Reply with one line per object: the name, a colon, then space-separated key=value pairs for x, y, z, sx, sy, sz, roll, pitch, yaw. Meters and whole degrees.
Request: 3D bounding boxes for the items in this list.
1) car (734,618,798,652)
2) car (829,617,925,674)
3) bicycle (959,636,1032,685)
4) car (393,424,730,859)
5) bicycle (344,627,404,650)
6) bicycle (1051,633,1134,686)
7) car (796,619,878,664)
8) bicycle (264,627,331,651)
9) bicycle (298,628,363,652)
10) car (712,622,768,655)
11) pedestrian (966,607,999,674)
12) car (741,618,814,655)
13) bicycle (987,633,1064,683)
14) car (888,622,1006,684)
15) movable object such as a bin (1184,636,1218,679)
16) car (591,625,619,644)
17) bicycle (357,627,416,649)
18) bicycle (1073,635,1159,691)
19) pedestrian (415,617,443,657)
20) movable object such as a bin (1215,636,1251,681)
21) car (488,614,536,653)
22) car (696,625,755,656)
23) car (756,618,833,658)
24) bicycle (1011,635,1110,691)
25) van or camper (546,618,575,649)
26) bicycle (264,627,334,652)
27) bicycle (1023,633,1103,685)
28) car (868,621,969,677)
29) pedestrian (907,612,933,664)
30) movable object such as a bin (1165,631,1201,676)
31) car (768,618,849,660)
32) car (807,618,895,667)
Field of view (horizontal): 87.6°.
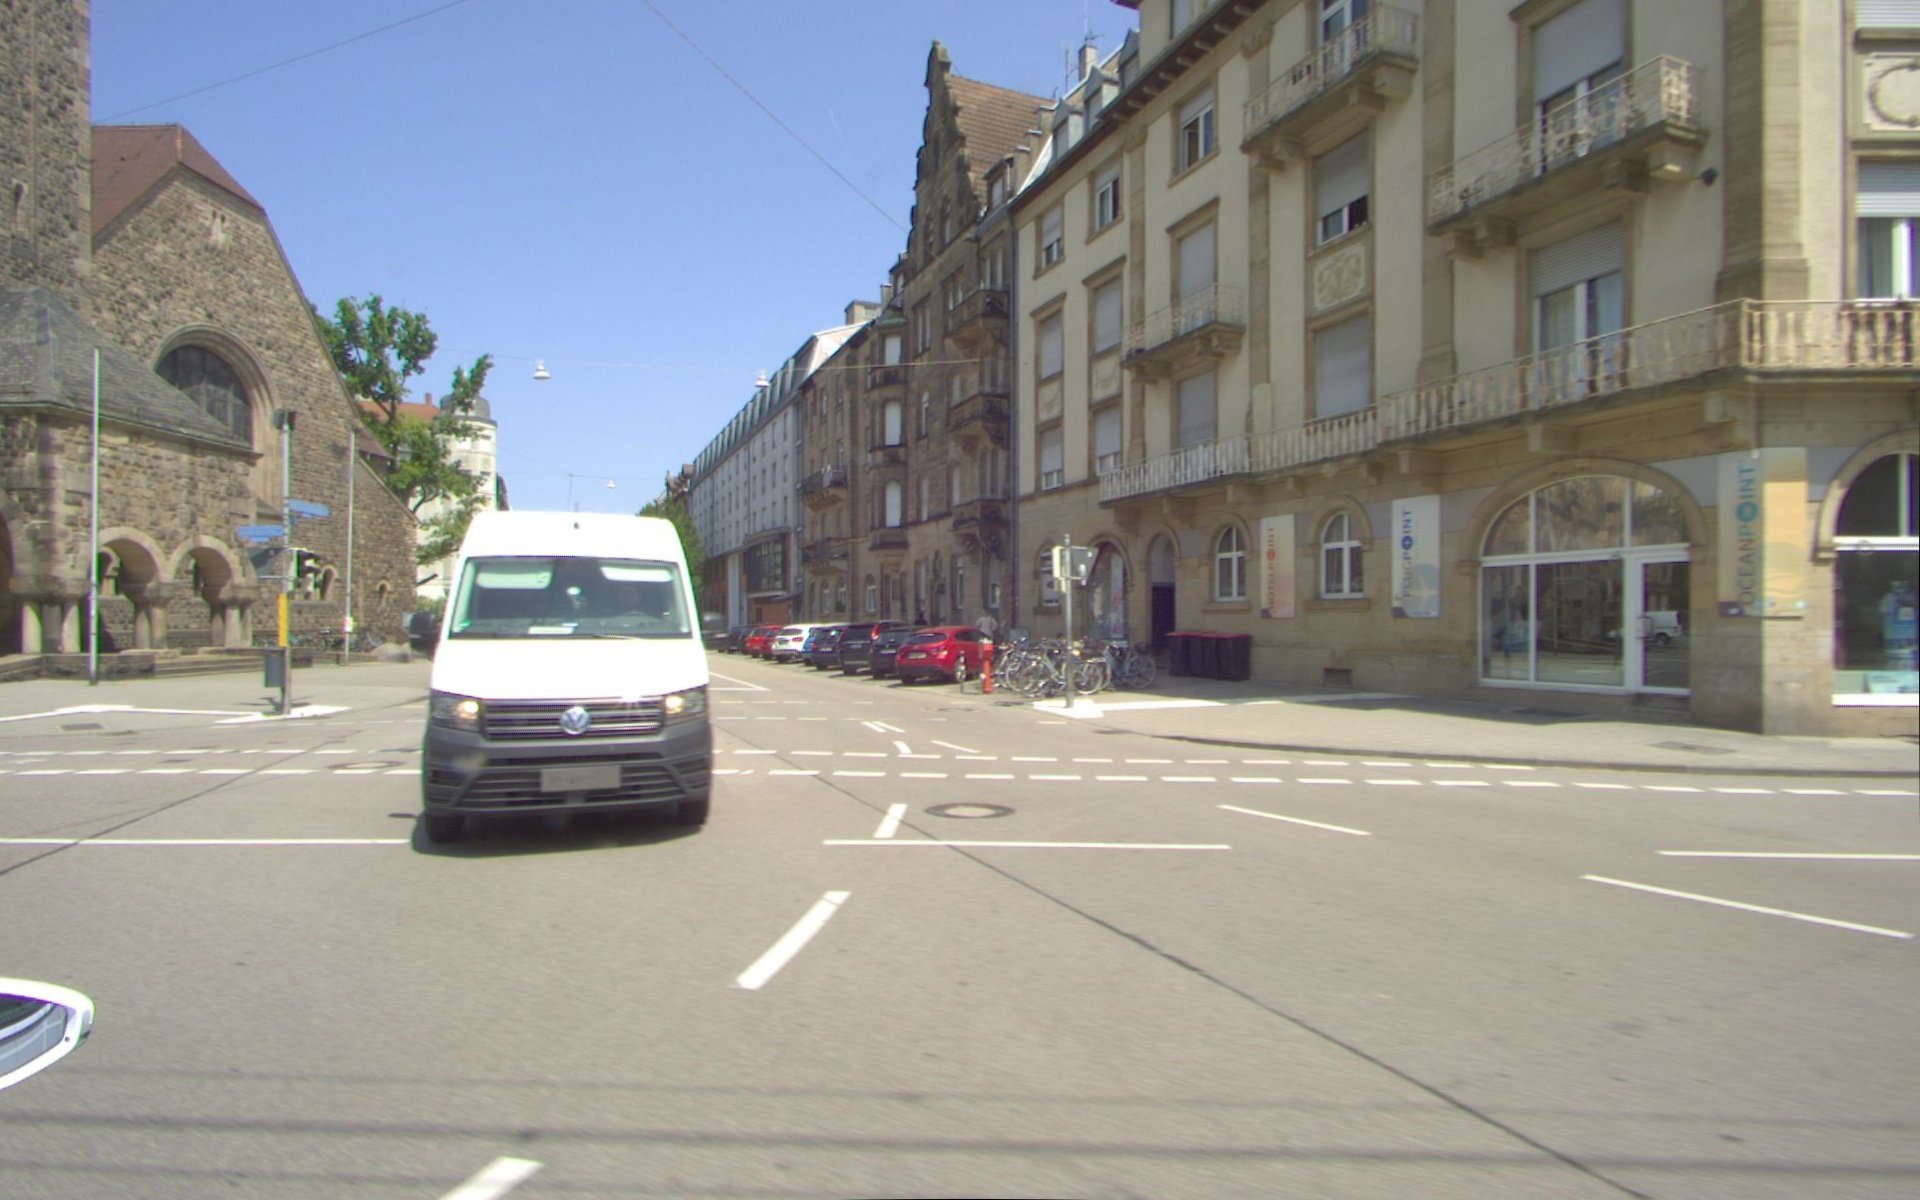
car: x=-9.716 y=1.732 z=50.278 sx=1.590 sy=1.595 sz=3.217 roll=-3 pitch=-1 yaw=23
car: x=-2.647 y=1.450 z=32.551 sx=1.592 sy=1.686 sz=3.214 roll=-3 pitch=-1 yaw=28
bicycle: x=0.893 y=1.499 z=25.133 sx=1.778 sy=1.166 sz=0.563 roll=-1 pitch=-1 yaw=-28
car: x=-3.761 y=0.312 z=9.609 sx=2.043 sy=2.671 sz=6.614 roll=0 pitch=-1 yaw=-22
bicycle: x=-27.158 y=1.784 z=46.424 sx=2.450 sy=1.024 sz=0.706 roll=0 pitch=0 yaw=4
bicycle: x=3.034 y=1.349 z=22.943 sx=1.771 sy=1.166 sz=0.565 roll=-1 pitch=-1 yaw=-9
car: x=-4.746 y=1.574 z=38.949 sx=1.592 sy=1.595 sz=3.214 roll=-3 pitch=-1 yaw=28
bicycle: x=-28.048 y=1.650 z=42.424 sx=2.450 sy=1.024 sz=0.706 roll=0 pitch=0 yaw=4
bicycle: x=-27.761 y=1.746 z=44.170 sx=2.450 sy=1.024 sz=0.706 roll=0 pitch=0 yaw=4
car: x=-11.532 y=2.021 z=52.629 sx=1.469 sy=1.595 sz=3.222 roll=-3 pitch=-1 yaw=17
pedestrian: x=0.717 y=1.313 z=32.791 sx=0.851 sy=2.141 sz=1.100 roll=0 pitch=-1 yaw=-13
car: x=-8.561 y=1.717 z=47.105 sx=1.594 sy=1.595 sz=3.209 roll=-3 pitch=-1 yaw=32
bicycle: x=1.600 y=1.400 z=24.378 sx=1.771 sy=1.166 sz=0.565 roll=-1 pitch=-1 yaw=-9
car: x=-0.301 y=1.418 z=27.116 sx=1.595 sy=1.498 sz=3.207 roll=-3 pitch=-1 yaw=34
movable object such as a bin: x=5.755 y=1.372 z=23.907 sx=0.572 sy=1.007 sz=0.590 roll=0 pitch=-1 yaw=-14
car: x=-33.931 y=3.253 z=95.659 sx=1.932 sy=1.772 sz=3.981 roll=1 pitch=-1 yaw=-29
bicycle: x=-27.165 y=1.801 z=47.439 sx=2.450 sy=1.024 sz=0.706 roll=0 pitch=0 yaw=4
bicycle: x=3.453 y=1.386 z=22.174 sx=1.771 sy=1.166 sz=0.565 roll=-1 pitch=-1 yaw=-9
pedestrian: x=-20.996 y=1.469 z=39.638 sx=0.707 sy=1.579 sz=0.792 roll=0 pitch=-1 yaw=-5
movable object such as a bin: x=6.225 y=1.326 z=22.880 sx=0.572 sy=1.007 sz=0.590 roll=0 pitch=-1 yaw=-14
car: x=-24.544 y=1.829 z=54.990 sx=2.010 sy=2.030 sz=4.956 roll=1 pitch=-1 yaw=-20
car: x=-12.861 y=2.217 z=55.149 sx=1.590 sy=1.595 sz=3.219 roll=-3 pitch=-1 yaw=21
car: x=-7.276 y=1.659 z=44.326 sx=1.594 sy=1.595 sz=3.209 roll=-3 pitch=-1 yaw=32
bicycle: x=2.134 y=1.332 z=21.358 sx=2.021 sy=1.166 sz=0.565 roll=0 pitch=0 yaw=-9
van or camper: x=-32.520 y=2.700 z=81.633 sx=2.039 sy=2.493 sz=5.886 roll=1 pitch=-1 yaw=-21
bicycle: x=-27.166 y=1.616 z=41.174 sx=2.450 sy=1.024 sz=0.706 roll=0 pitch=0 yaw=4
bicycle: x=2.439 y=1.376 z=23.703 sx=1.771 sy=1.166 sz=0.565 roll=-1 pitch=-1 yaw=-9
car: x=-1.194 y=1.435 z=30.024 sx=1.592 sy=1.498 sz=3.214 roll=-3 pitch=-1 yaw=28
pedestrian: x=-1.586 y=1.501 z=39.757 sx=0.851 sy=2.039 sz=1.100 roll=0 pitch=-1 yaw=-13
movable object such as a bin: x=5.426 y=1.305 z=24.415 sx=0.658 sy=1.078 sz=0.590 roll=0 pitch=-1 yaw=-14
car: x=-6.272 y=1.612 z=41.615 sx=1.594 sy=1.595 sz=3.209 roll=-3 pitch=-1 yaw=32
car: x=-3.862 y=1.505 z=35.878 sx=1.592 sy=1.595 sz=3.214 roll=-3 pitch=-1 yaw=28
